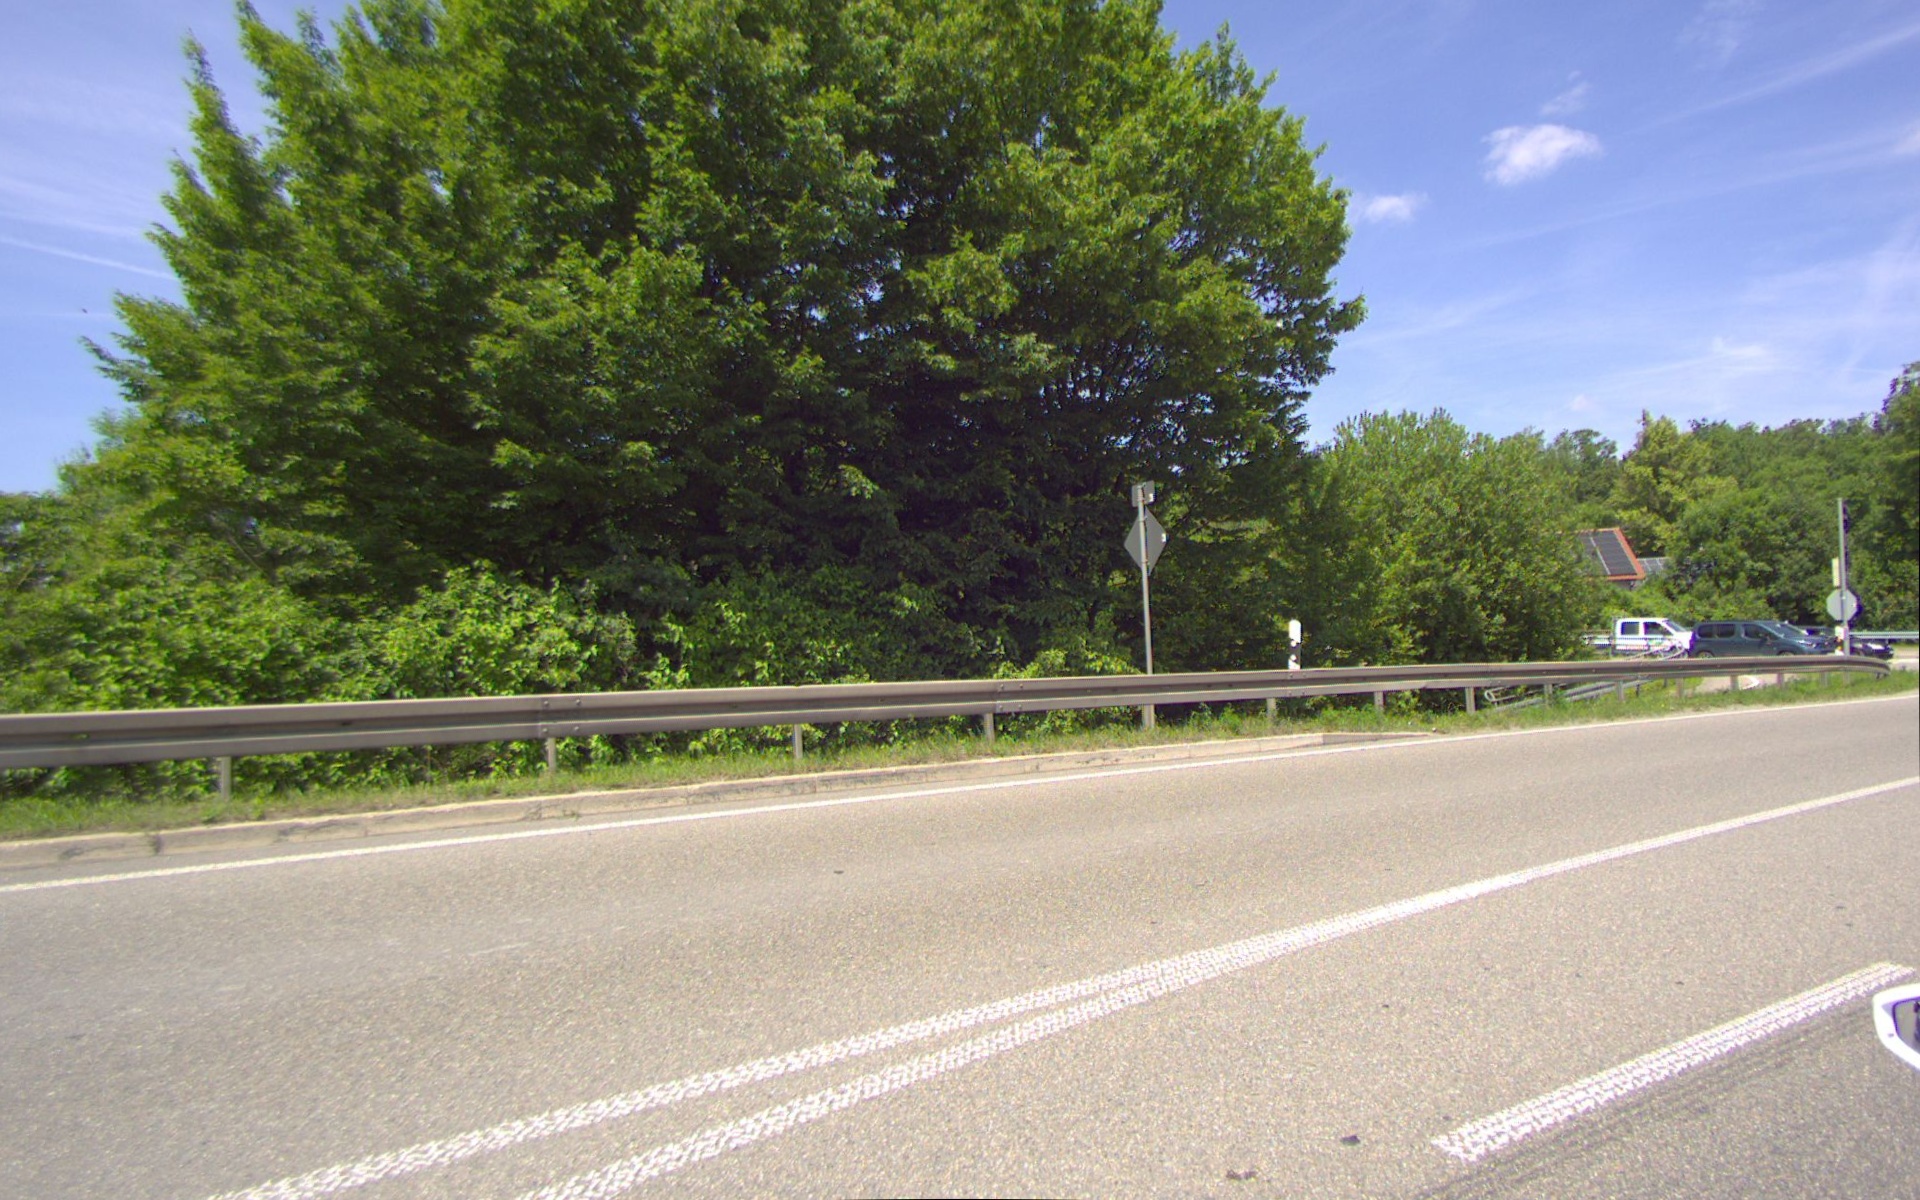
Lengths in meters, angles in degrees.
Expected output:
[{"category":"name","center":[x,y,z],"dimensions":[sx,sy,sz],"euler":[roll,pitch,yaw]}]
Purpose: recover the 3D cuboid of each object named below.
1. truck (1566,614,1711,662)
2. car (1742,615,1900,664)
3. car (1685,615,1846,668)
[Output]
[{"category":"truck","center":[29.424,1.618,43.673],"dimensions":[2.027,1.815,4.834],"euler":[3,-1,-40]},{"category":"car","center":[33.092,1.482,38.764],"dimensions":[1.969,1.793,4.230],"euler":[1,-1,-19]},{"category":"car","center":[29.460,1.475,36.902],"dimensions":[1.969,1.793,4.230],"euler":[1,-1,-19]}]
